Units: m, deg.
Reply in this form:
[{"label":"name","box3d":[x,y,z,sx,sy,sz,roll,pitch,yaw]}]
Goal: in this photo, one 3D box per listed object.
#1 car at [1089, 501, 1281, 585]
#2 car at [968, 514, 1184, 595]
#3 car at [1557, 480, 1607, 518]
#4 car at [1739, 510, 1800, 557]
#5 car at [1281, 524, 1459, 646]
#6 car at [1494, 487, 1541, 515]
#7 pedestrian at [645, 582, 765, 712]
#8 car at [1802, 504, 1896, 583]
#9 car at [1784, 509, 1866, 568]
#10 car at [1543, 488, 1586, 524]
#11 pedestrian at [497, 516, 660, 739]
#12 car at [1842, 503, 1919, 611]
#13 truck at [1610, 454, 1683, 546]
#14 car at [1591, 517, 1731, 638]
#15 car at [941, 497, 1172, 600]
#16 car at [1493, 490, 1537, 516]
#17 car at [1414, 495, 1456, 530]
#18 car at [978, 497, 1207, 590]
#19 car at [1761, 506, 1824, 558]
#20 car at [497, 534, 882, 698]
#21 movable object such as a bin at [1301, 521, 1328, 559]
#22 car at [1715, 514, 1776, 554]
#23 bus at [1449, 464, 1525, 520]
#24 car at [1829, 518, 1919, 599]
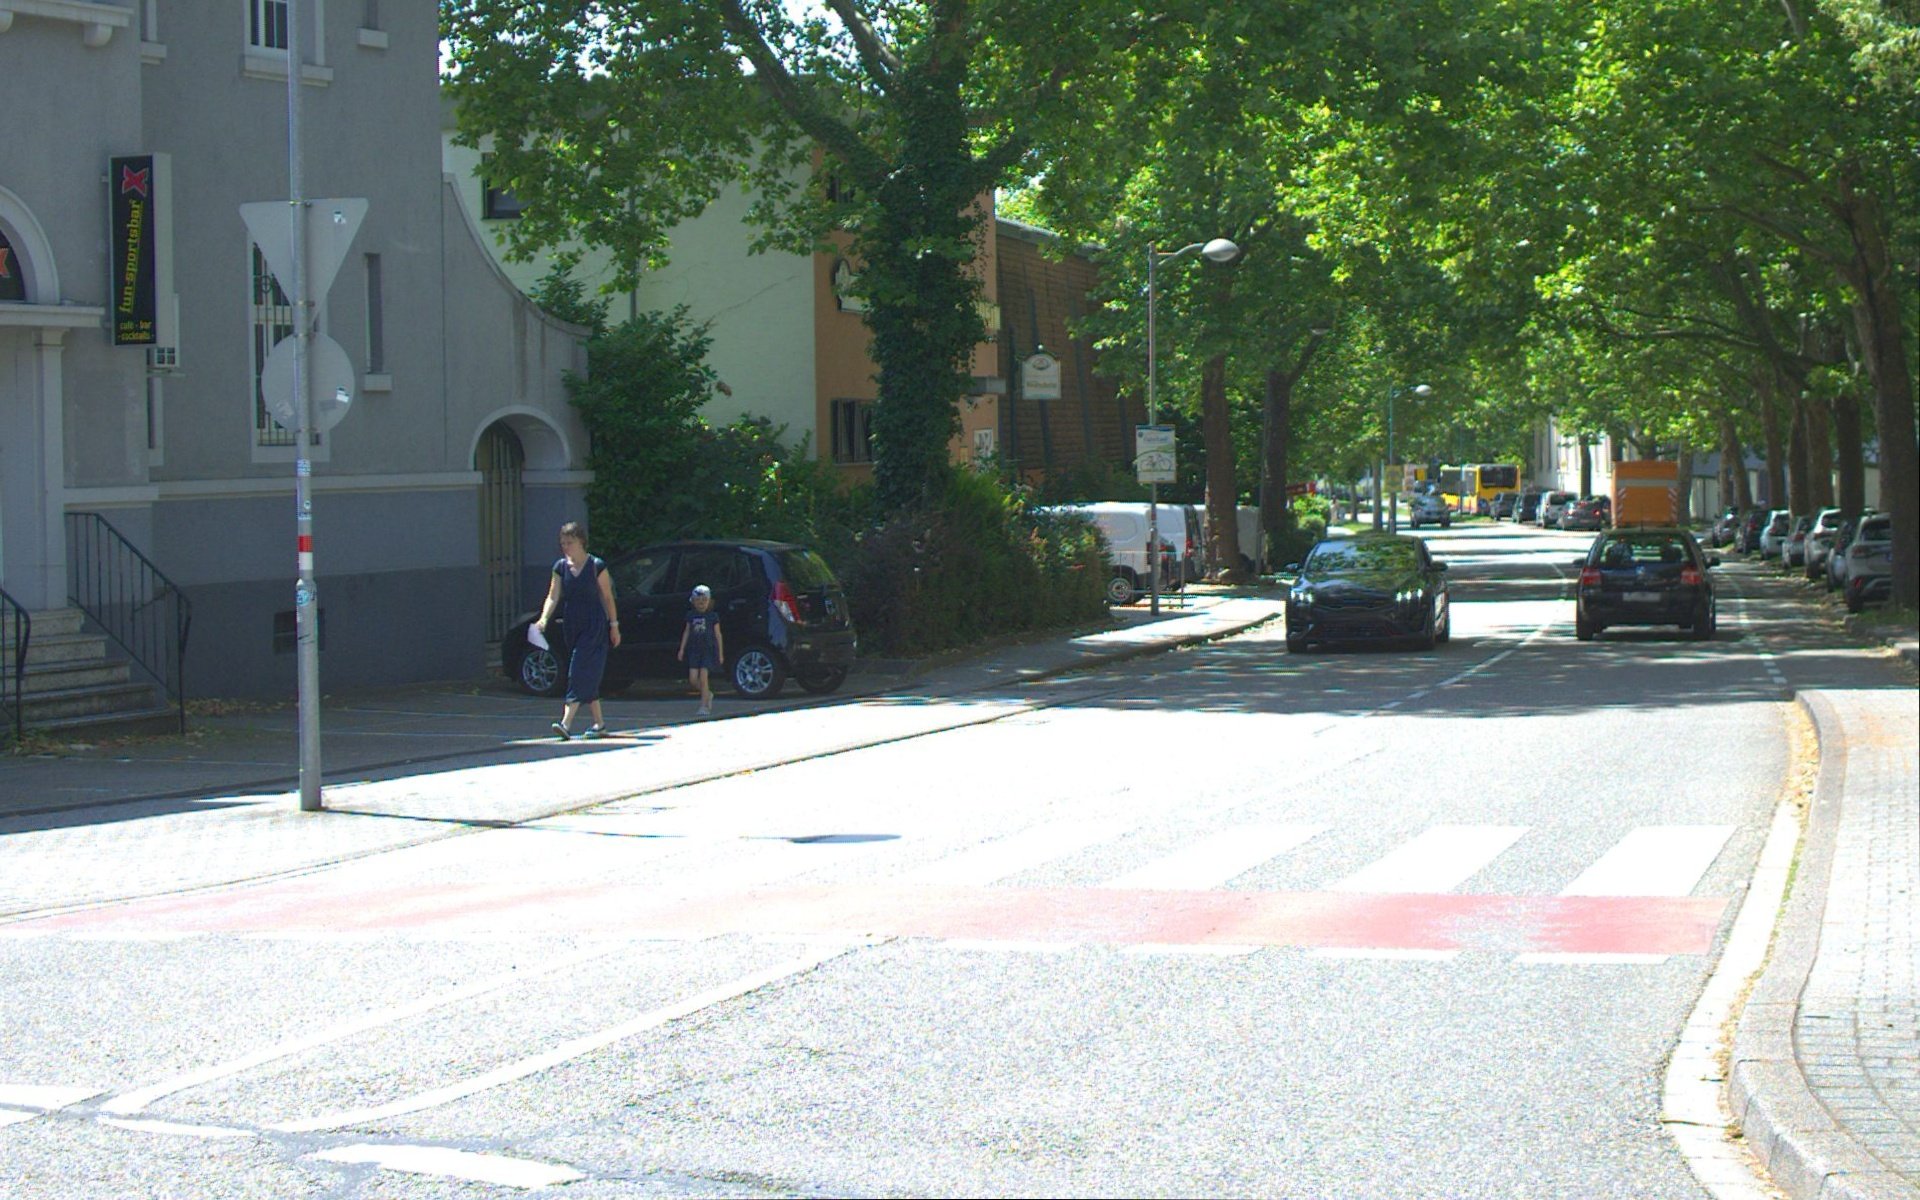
[{"label":"car","box3d":[5.097,-1.298,77.721,4.130,1.798,1.902,1,2,10]},{"label":"car","box3d":[2.294,-0.911,67.431,3.988,1.510,1.868,1,2,10]},{"label":"car","box3d":[29.341,-4.757,162.240,1.879,1.680,3.999,-1,0,5]},{"label":"car","box3d":[27.100,-2.248,115.228,1.767,1.461,3.874,-2,1,11]},{"label":"car","box3d":[5.213,-0.227,43.249,1.770,1.421,4.390,-1,1,13]},{"label":"car","box3d":[29.438,-5.204,181.522,1.766,1.369,3.730,-2,1,-1]},{"label":"pedestrian","box3d":[-2.271,0.412,30.695,0.754,1.118,0.896,-1,1,19]},{"label":"car","box3d":[20.218,-1.310,78.283,1.809,1.683,4.749,-2,1,12]},{"label":"car","box3d":[22.233,-1.603,88.490,1.767,1.428,3.874,-2,1,11]},{"label":"car","box3d":[29.802,-4.642,169.631,1.880,1.680,3.999,-1,0,7]},{"label":"pedestrian","box3d":[-3.034,0.204,27.444,0.872,1.736,1.111,-1,1,19]},{"label":"car","box3d":[15.187,-0.731,55.399,1.742,1.552,4.777,-2,2,13]},{"label":"truck","box3d":[24.328,-3.506,121.993,2.371,3.123,5.767,-1,0,10]},{"label":"car","box3d":[9.274,-0.331,45.482,1.712,1.442,4.056,-1,2,12]},{"label":"car","box3d":[1.784,-0.953,62.921,3.988,1.786,1.868,1,2,10]},{"label":"car","box3d":[30.515,-5.341,189.245,1.766,1.369,3.730,-2,1,0]},{"label":"car","box3d":[24.170,-4.463,175.166,1.994,1.660,3.999,-1,0,6]},{"label":"car","box3d":[2.722,-1.160,69.913,4.425,1.798,1.902,1,2,10]},{"label":"car","box3d":[24.859,-2.051,102.762,1.578,1.461,3.874,-2,1,11]},{"label":"car","box3d":[-2.682,0.151,34.226,3.385,1.541,1.722,0,1,23]},{"label":"movable object such as a bin","box3d":[9.820,-1.670,95.183,0.624,1.045,0.620,0,2,18]},{"label":"car","box3d":[28.305,-2.384,123.945,1.767,1.369,3.729,-2,1,7]},{"label":"bus","box3d":[31.377,-6.410,205.026,2.663,3.139,11.198,-1,1,0]},{"label":"car","box3d":[17.798,-0.822,66.650,1.622,1.435,4.431,-2,1,12]}]
